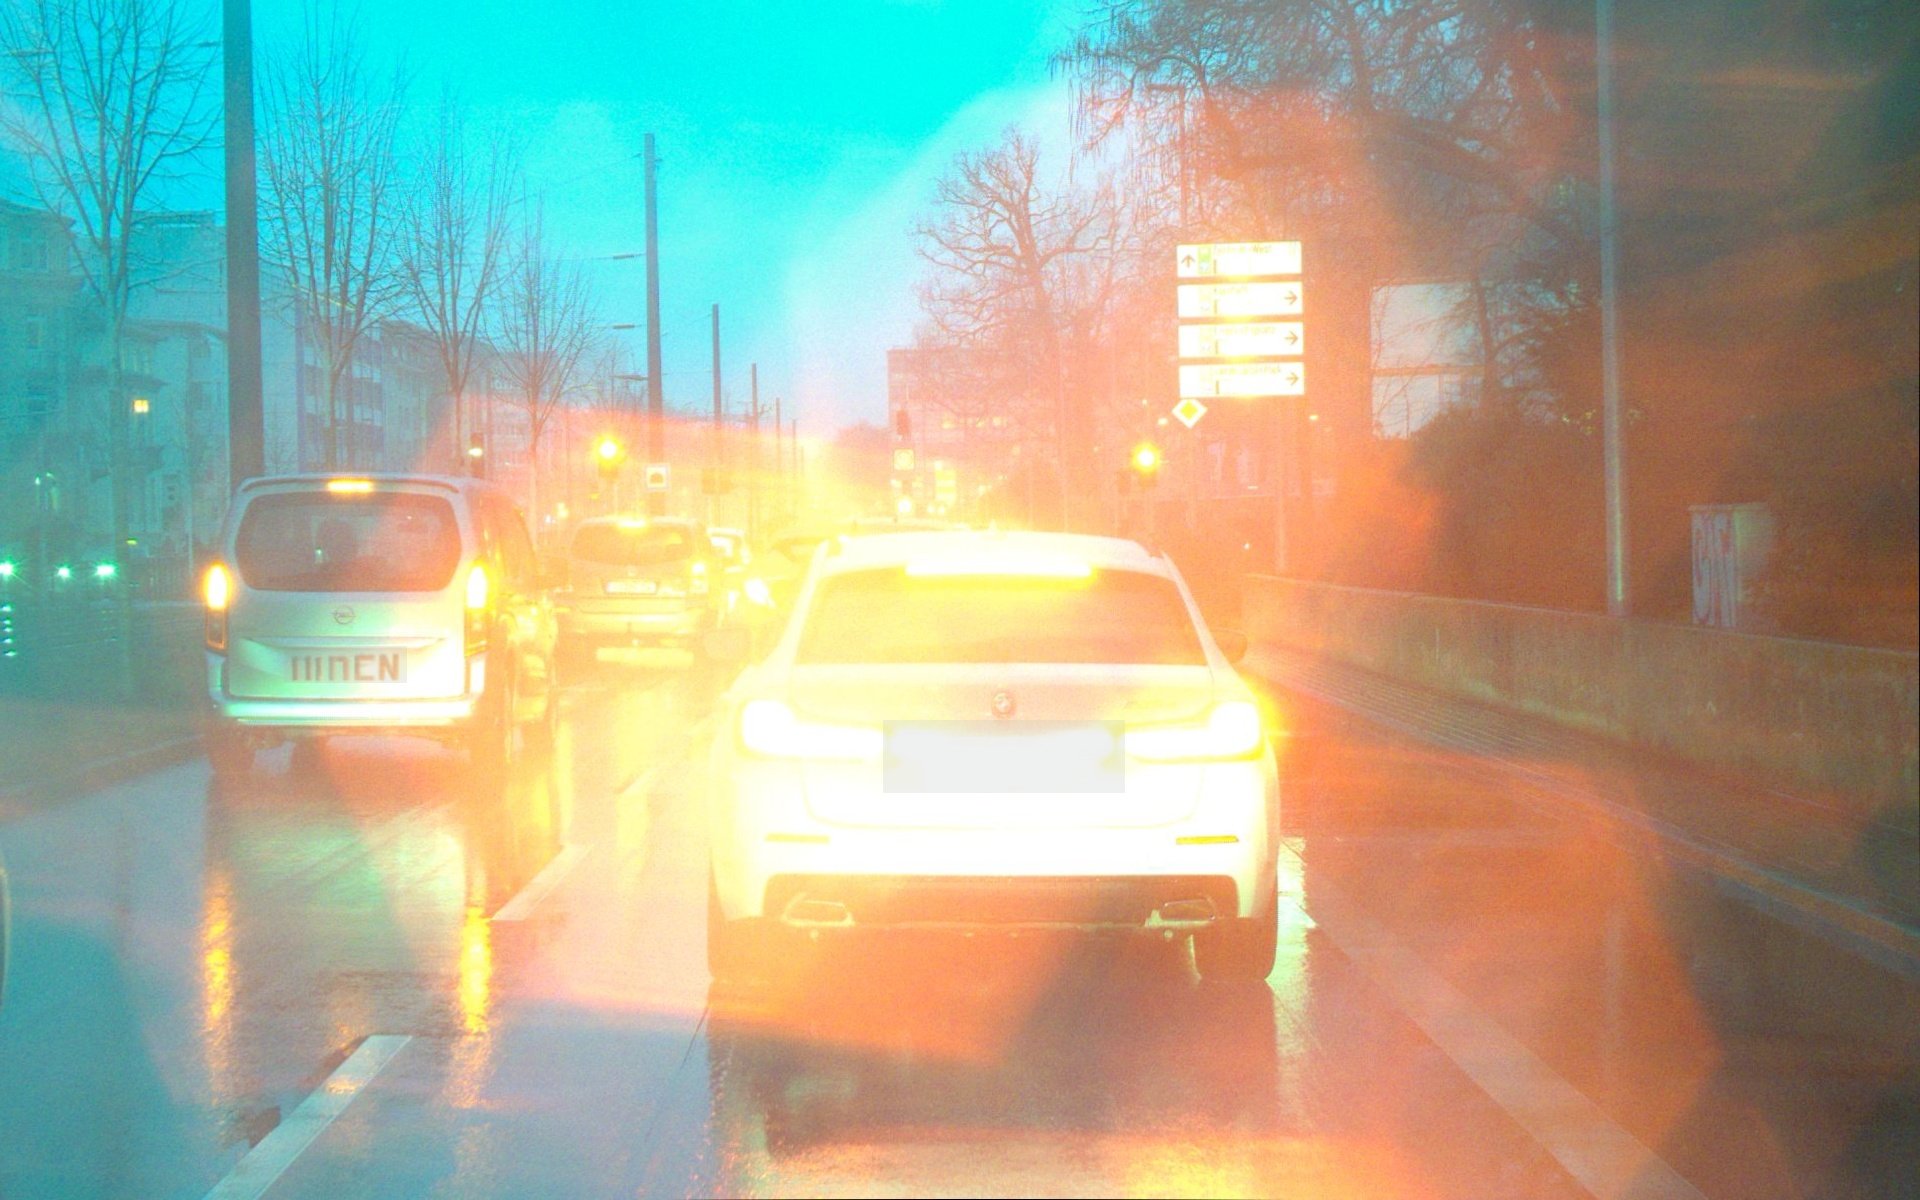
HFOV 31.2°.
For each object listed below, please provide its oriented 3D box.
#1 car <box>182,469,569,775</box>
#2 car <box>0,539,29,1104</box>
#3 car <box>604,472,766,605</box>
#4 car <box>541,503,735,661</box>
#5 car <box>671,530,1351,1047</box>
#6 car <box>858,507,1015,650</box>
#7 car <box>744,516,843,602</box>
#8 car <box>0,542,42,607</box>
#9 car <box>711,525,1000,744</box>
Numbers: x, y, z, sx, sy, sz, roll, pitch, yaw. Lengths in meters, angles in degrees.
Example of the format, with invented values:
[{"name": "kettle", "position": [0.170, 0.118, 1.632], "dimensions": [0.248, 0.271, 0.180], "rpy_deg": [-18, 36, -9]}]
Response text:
[{"name": "car", "position": [-3.580, 0.088, 21.819], "dimensions": [1.793, 1.730, 4.538], "rpy_deg": [0, 1, -2]}, {"name": "car", "position": [-3.274, 0.580, 6.461], "dimensions": [1.846, 1.400, 4.614], "rpy_deg": [0, 1, -1]}, {"name": "car", "position": [-3.758, -0.844, 47.588], "dimensions": [1.993, 1.749, 4.000], "rpy_deg": [0, 1, -1]}, {"name": "car", "position": [-3.491, -0.239, 37.884], "dimensions": [1.806, 1.640, 4.000], "rpy_deg": [0, 1, -1]}, {"name": "car", "position": [0.126, 0.512, 12.193], "dimensions": [1.999, 1.503, 4.164], "rpy_deg": [0, 1, -1]}, {"name": "car", "position": [-0.291, -0.297, 41.646], "dimensions": [1.806, 1.640, 4.000], "rpy_deg": [0, 1, -1]}, {"name": "car", "position": [-3.266, -0.836, 68.136], "dimensions": [1.806, 1.640, 4.000], "rpy_deg": [0, 1, -1]}, {"name": "car", "position": [-25.674, -0.670, 90.591], "dimensions": [1.895, 1.628, 4.581], "rpy_deg": [-1, 1, -3]}, {"name": "car", "position": [-0.727, 0.183, 25.106], "dimensions": [1.936, 1.452, 4.164], "rpy_deg": [0, 1, -1]}]
